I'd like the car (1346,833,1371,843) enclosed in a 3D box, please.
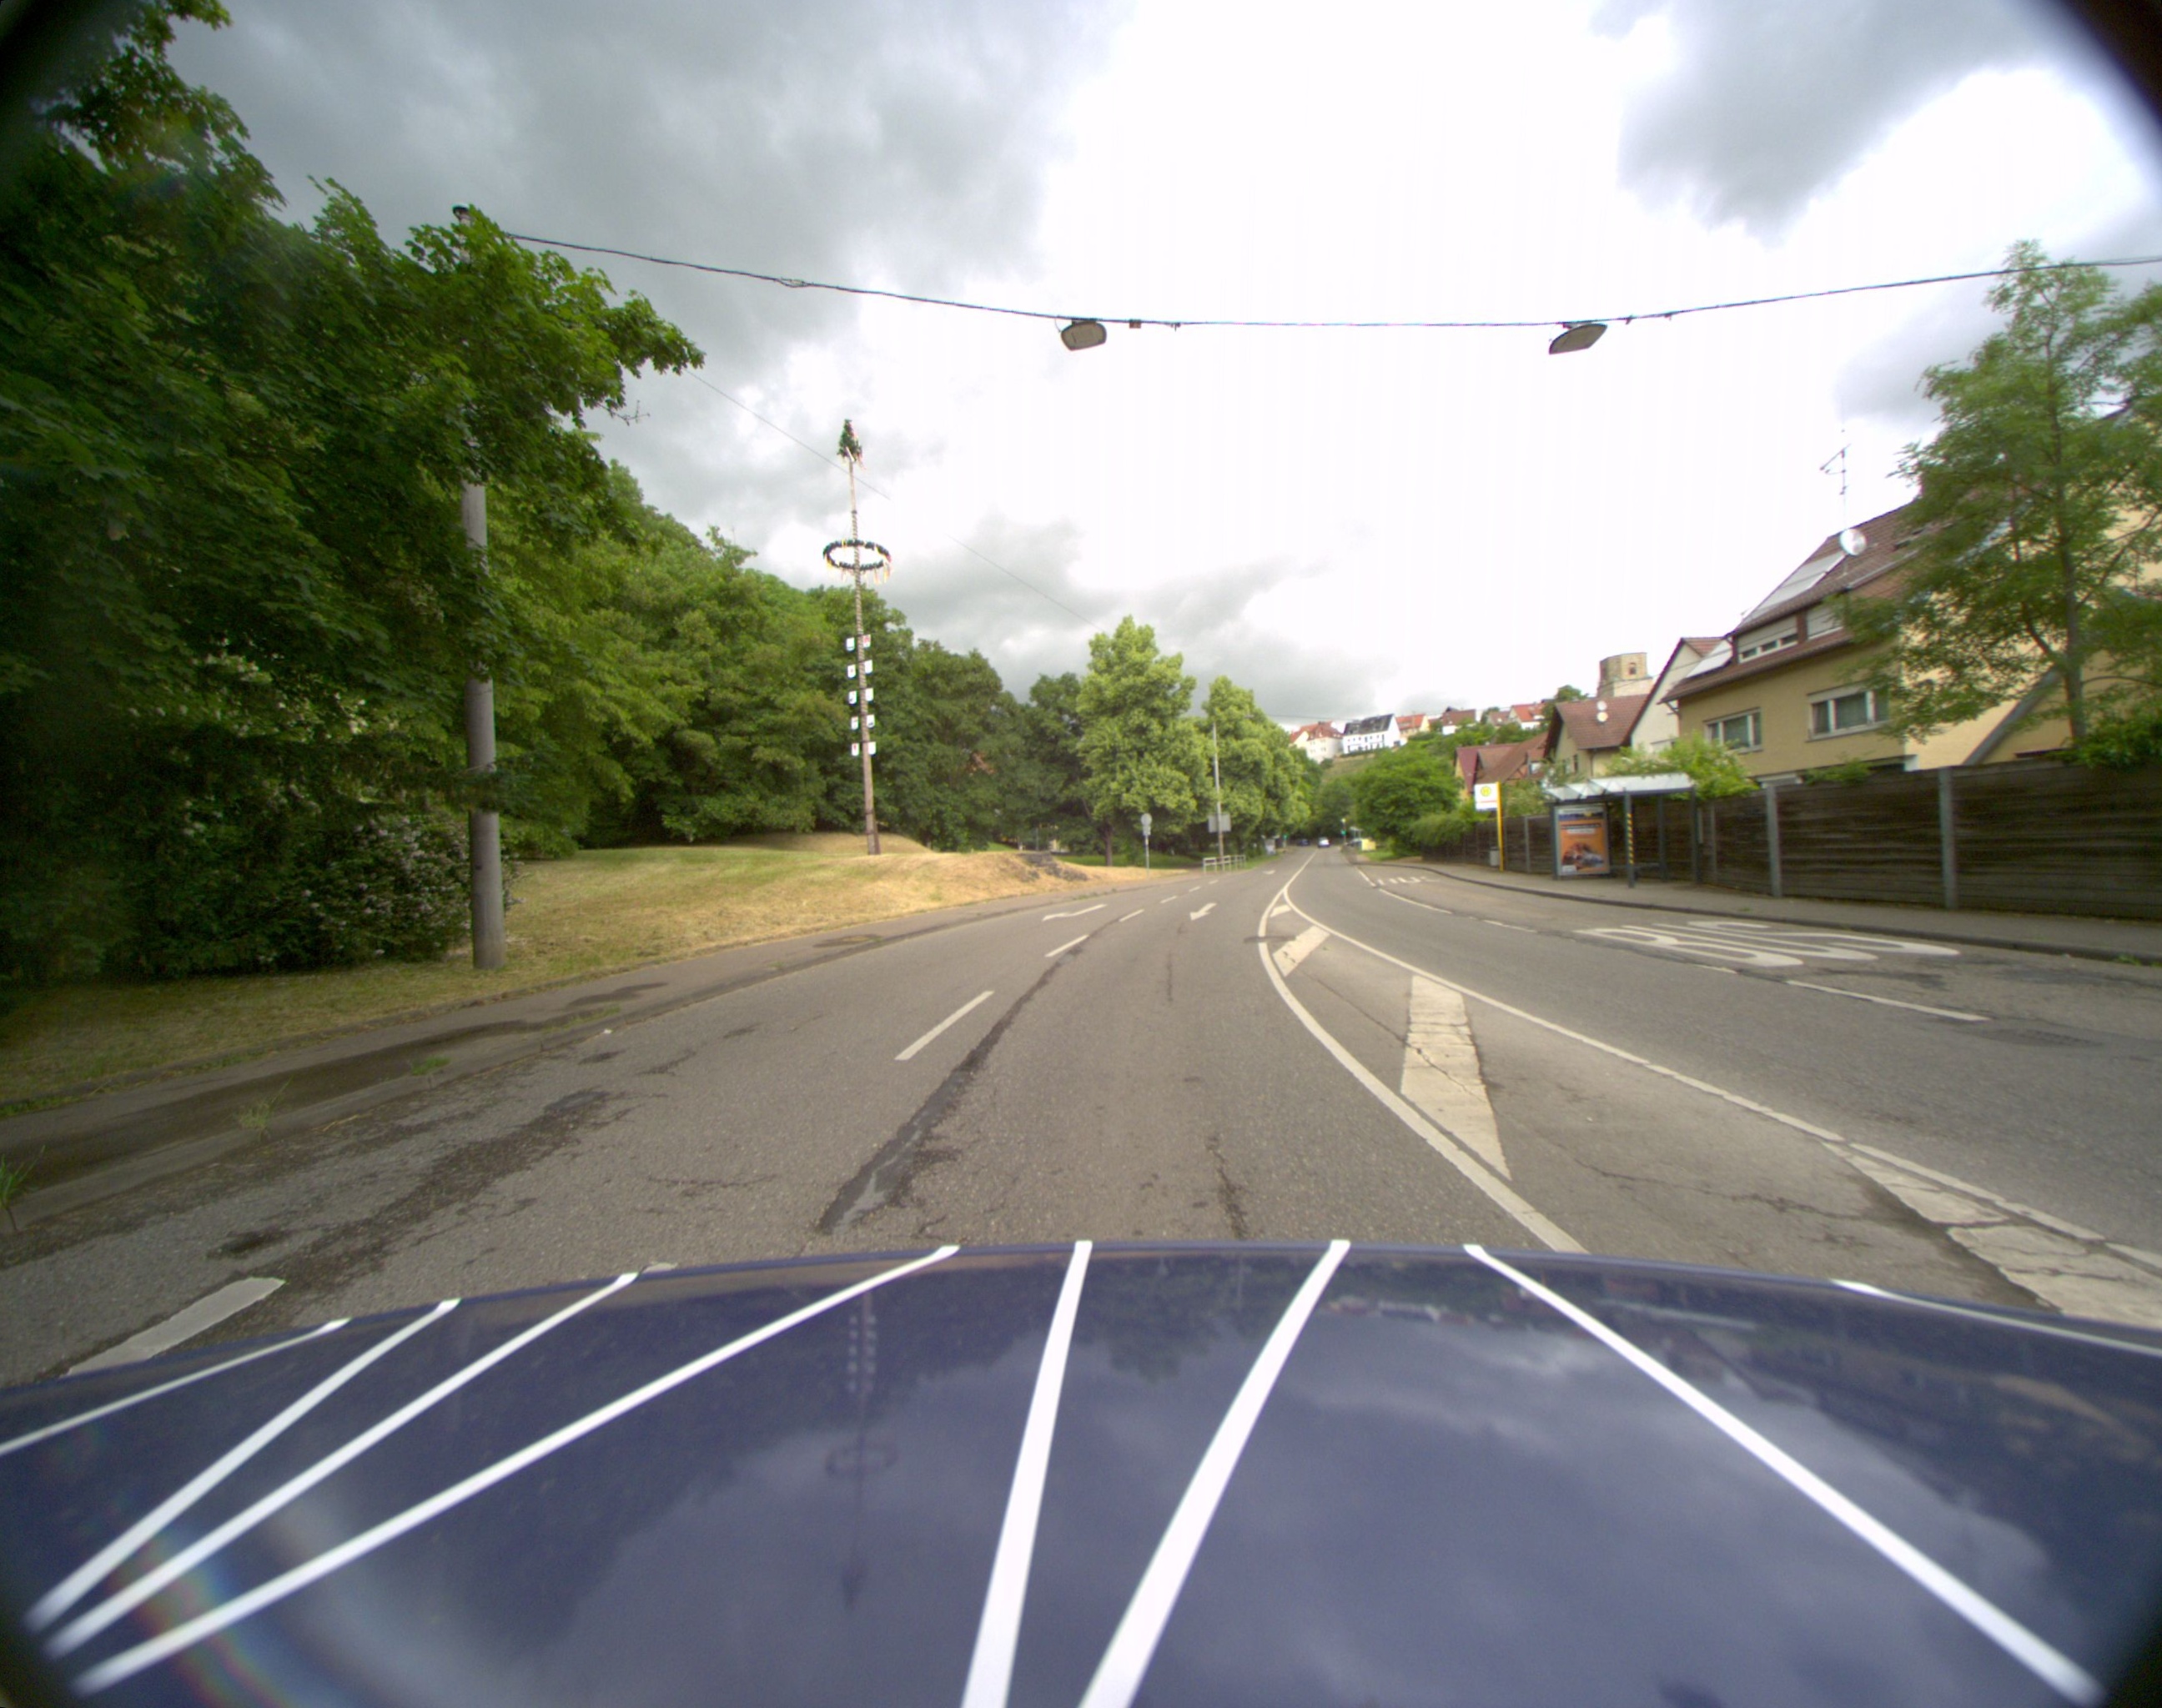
[{"bbox_3d":[45.759,-2.628,125.124,3.674,1.575,1.767,-2,1,24],"label":"car"}]

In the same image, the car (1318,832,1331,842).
[{"bbox_3d":[43.022,-2.975,134.430,1.996,1.608,4.004,-2,1,16],"label":"car"}]
